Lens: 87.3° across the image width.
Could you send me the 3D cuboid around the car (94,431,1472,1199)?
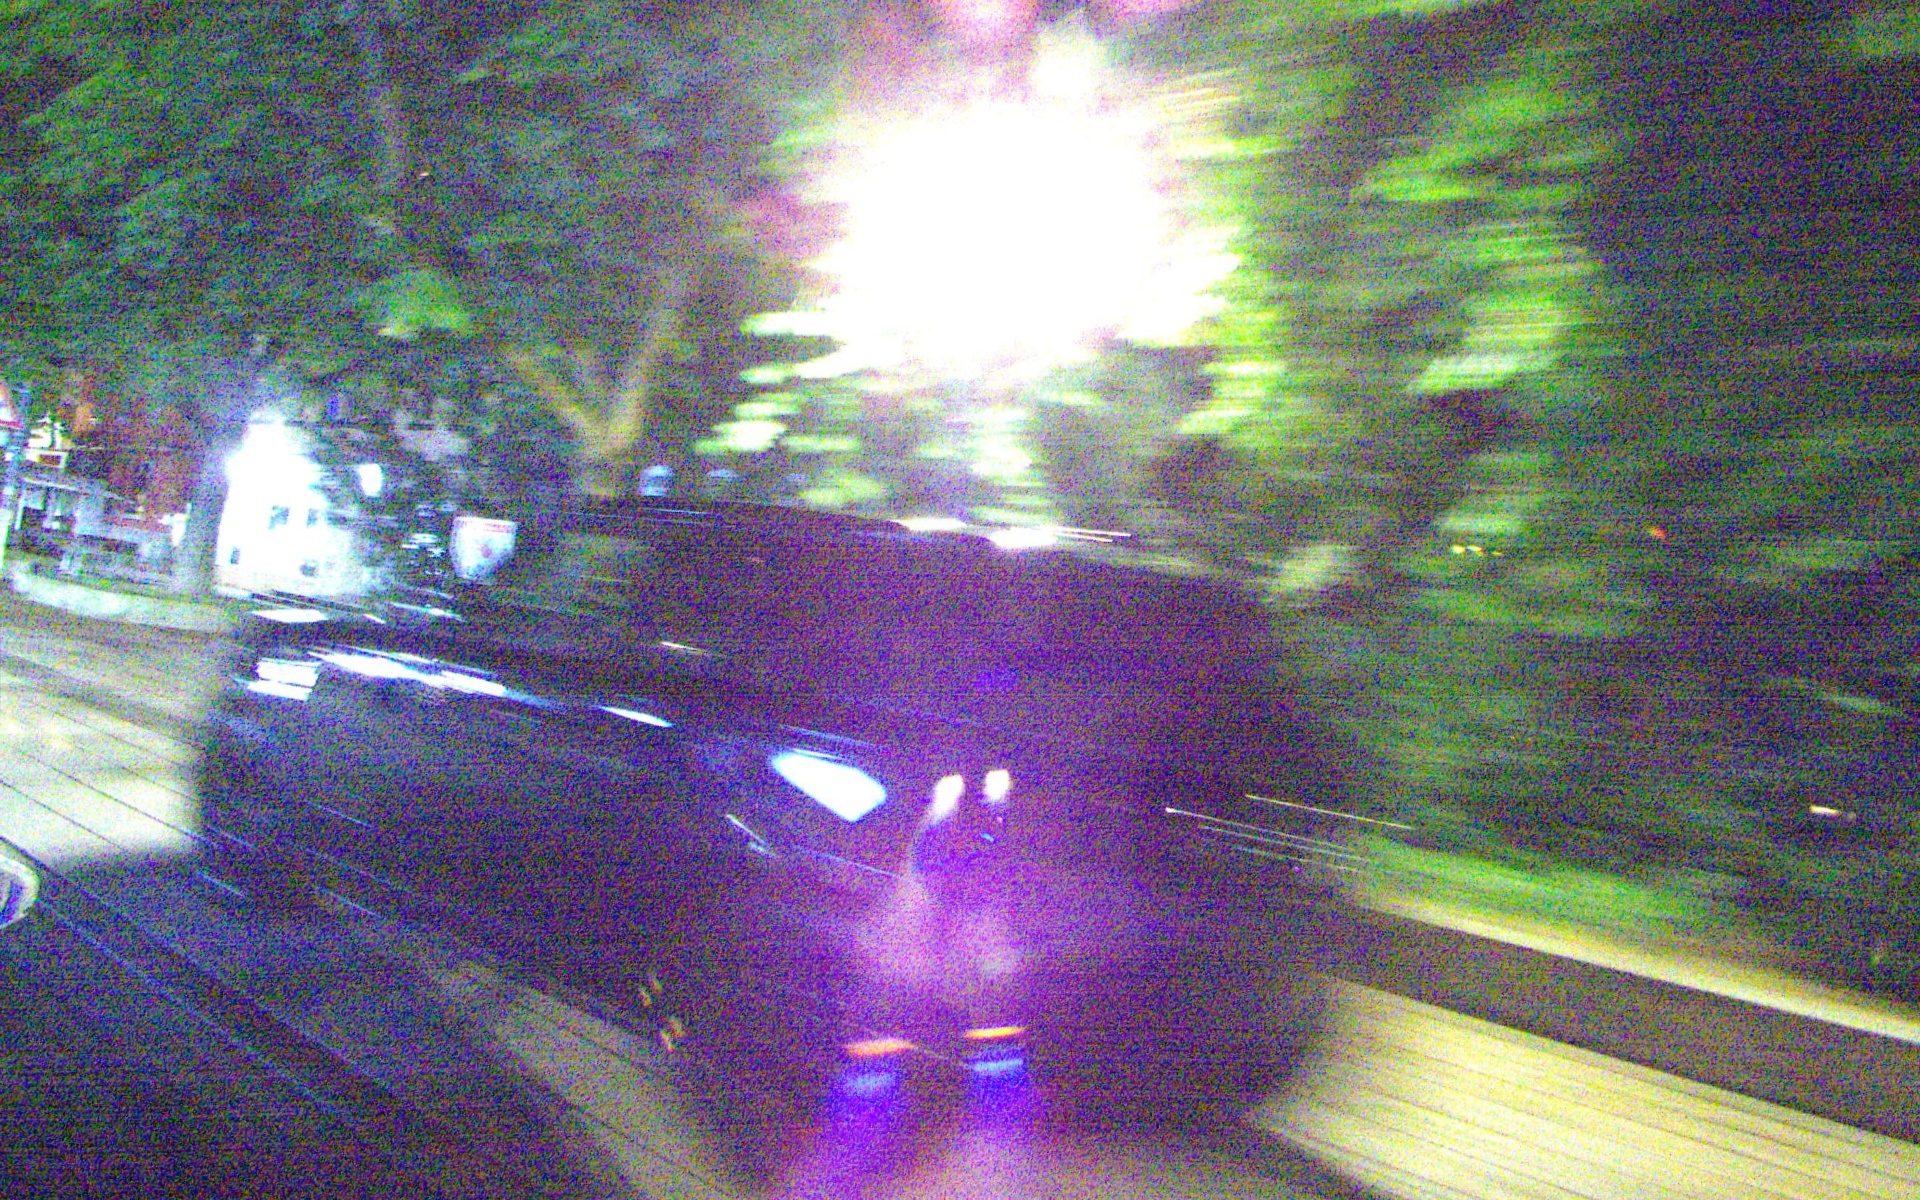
[{"bbox_3d":[-0.934,0.546,3.786,4.854,1.823,1.912,7,-2,31],"label":"car"}]
